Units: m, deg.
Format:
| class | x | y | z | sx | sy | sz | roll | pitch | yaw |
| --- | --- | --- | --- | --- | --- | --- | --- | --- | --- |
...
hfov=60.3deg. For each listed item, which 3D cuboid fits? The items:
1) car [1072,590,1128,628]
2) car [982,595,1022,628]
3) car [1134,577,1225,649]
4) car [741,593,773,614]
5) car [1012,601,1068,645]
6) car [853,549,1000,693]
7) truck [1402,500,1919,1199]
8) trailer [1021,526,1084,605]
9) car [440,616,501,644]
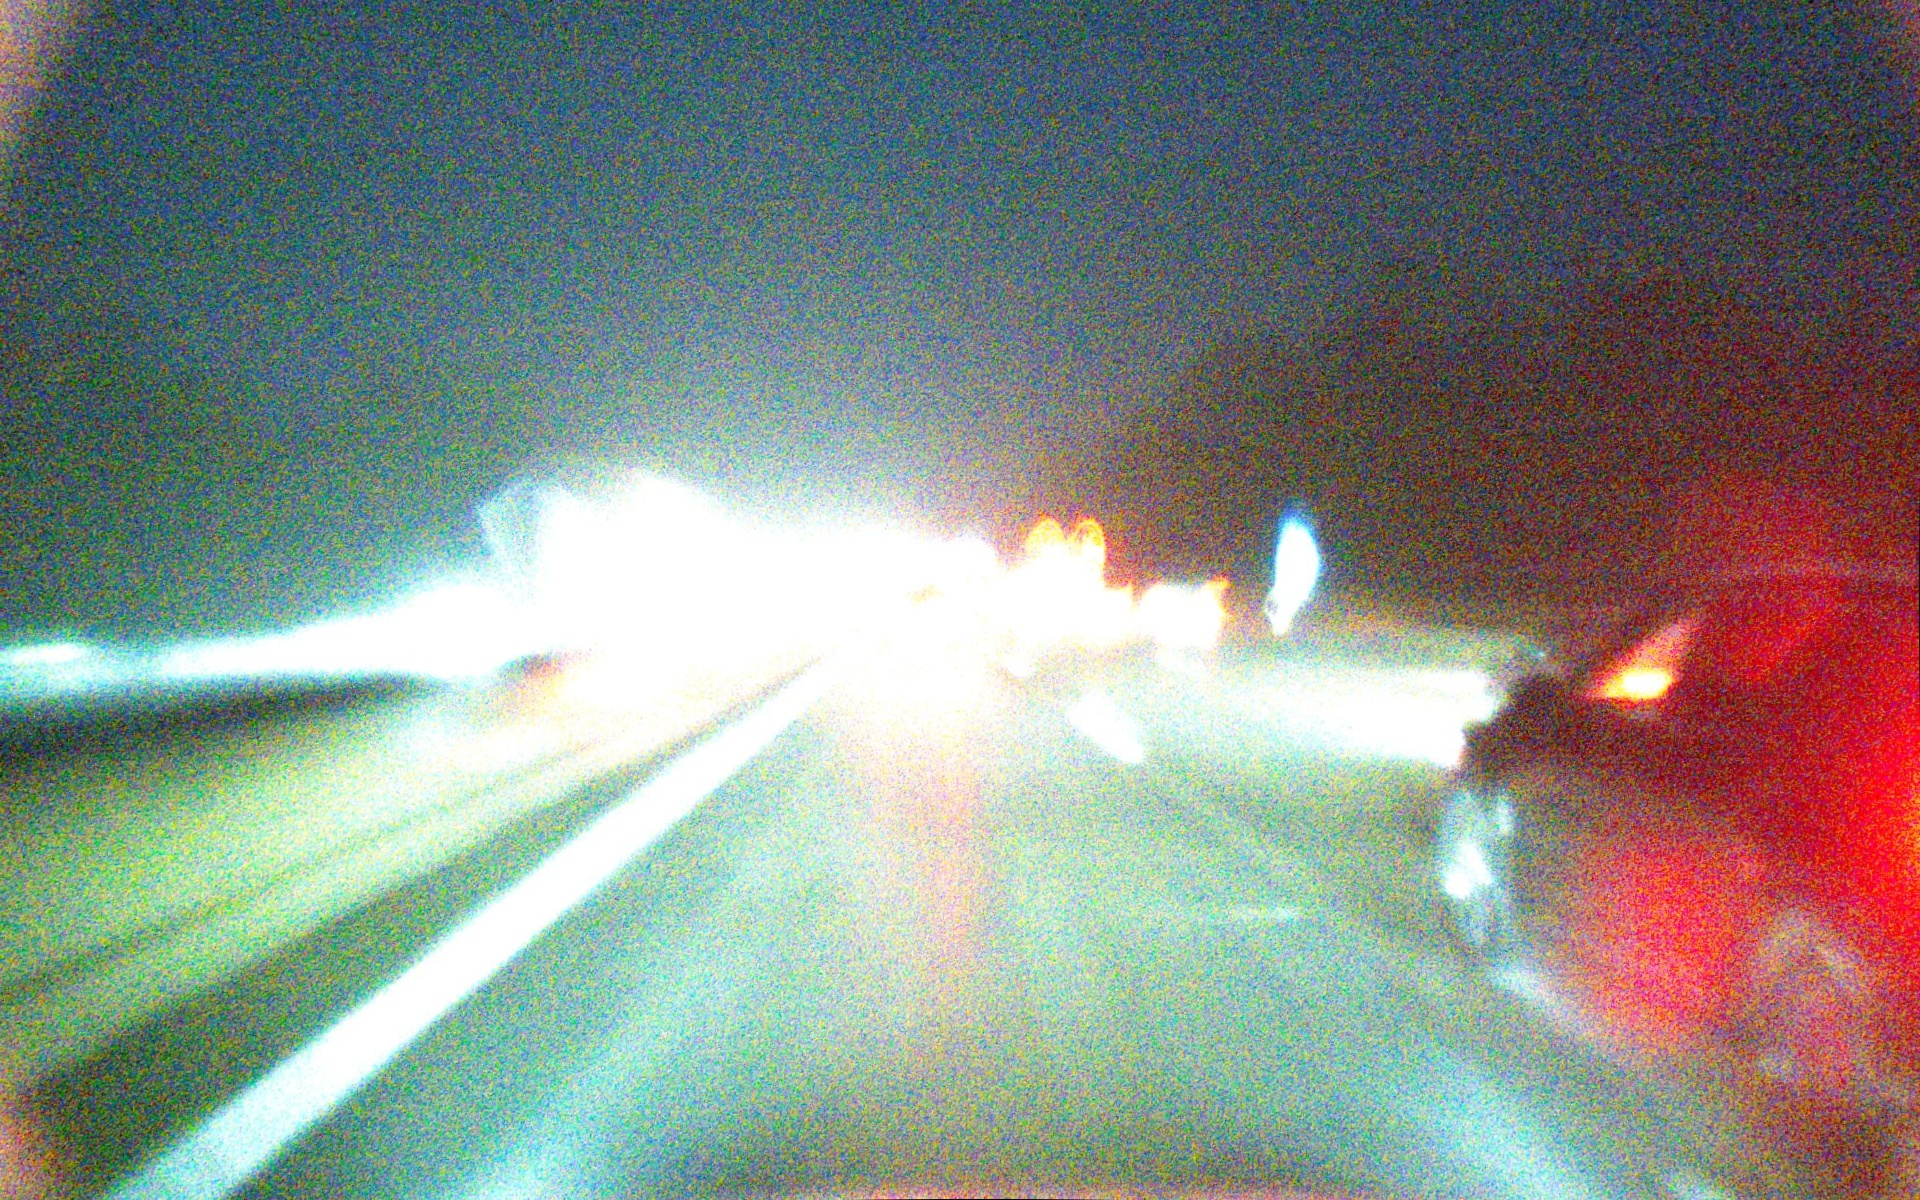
| class | x | y | z | sx | sy | sz | roll | pitch | yaw |
| --- | --- | --- | --- | --- | --- | --- | --- | --- | --- |
| car | 6.080 | 0.367 | 72.370 | 1.856 | 1.512 | 4.960 | 1 | 1 | -2 |
| car | 2.117 | 0.554 | 84.526 | 1.846 | 1.616 | 3.999 | 1 | 0 | -1 |
| car | 6.607 | 0.348 | 50.336 | 2.004 | 2.008 | 5.407 | -2 | 1 | 0 |
| car | -15.368 | 0.262 | 125.489 | 1.953 | 1.440 | 4.588 | -2 | 0 | -1 |
| car | 2.704 | 0.748 | 56.368 | 1.580 | 1.437 | 3.790 | 1 | 0 | -2 |
| car | -0.745 | 0.354 | 33.621 | 2.655 | 2.578 | 5.828 | -2 | 1 | -3 |
| truck | 3.032 | 0.656 | 5.402 | 1.806 | 1.726 | 4.853 | 1 | 0 | -1 |
| trailer | 5.315 | -1.923 | 96.838 | 2.747 | 4.286 | 12.093 | 1 | 0 | -1 |
| car | -21.506 | 1.288 | 72.743 | 1.605 | 1.122 | 4.044 | 1 | 0 | -2 |
